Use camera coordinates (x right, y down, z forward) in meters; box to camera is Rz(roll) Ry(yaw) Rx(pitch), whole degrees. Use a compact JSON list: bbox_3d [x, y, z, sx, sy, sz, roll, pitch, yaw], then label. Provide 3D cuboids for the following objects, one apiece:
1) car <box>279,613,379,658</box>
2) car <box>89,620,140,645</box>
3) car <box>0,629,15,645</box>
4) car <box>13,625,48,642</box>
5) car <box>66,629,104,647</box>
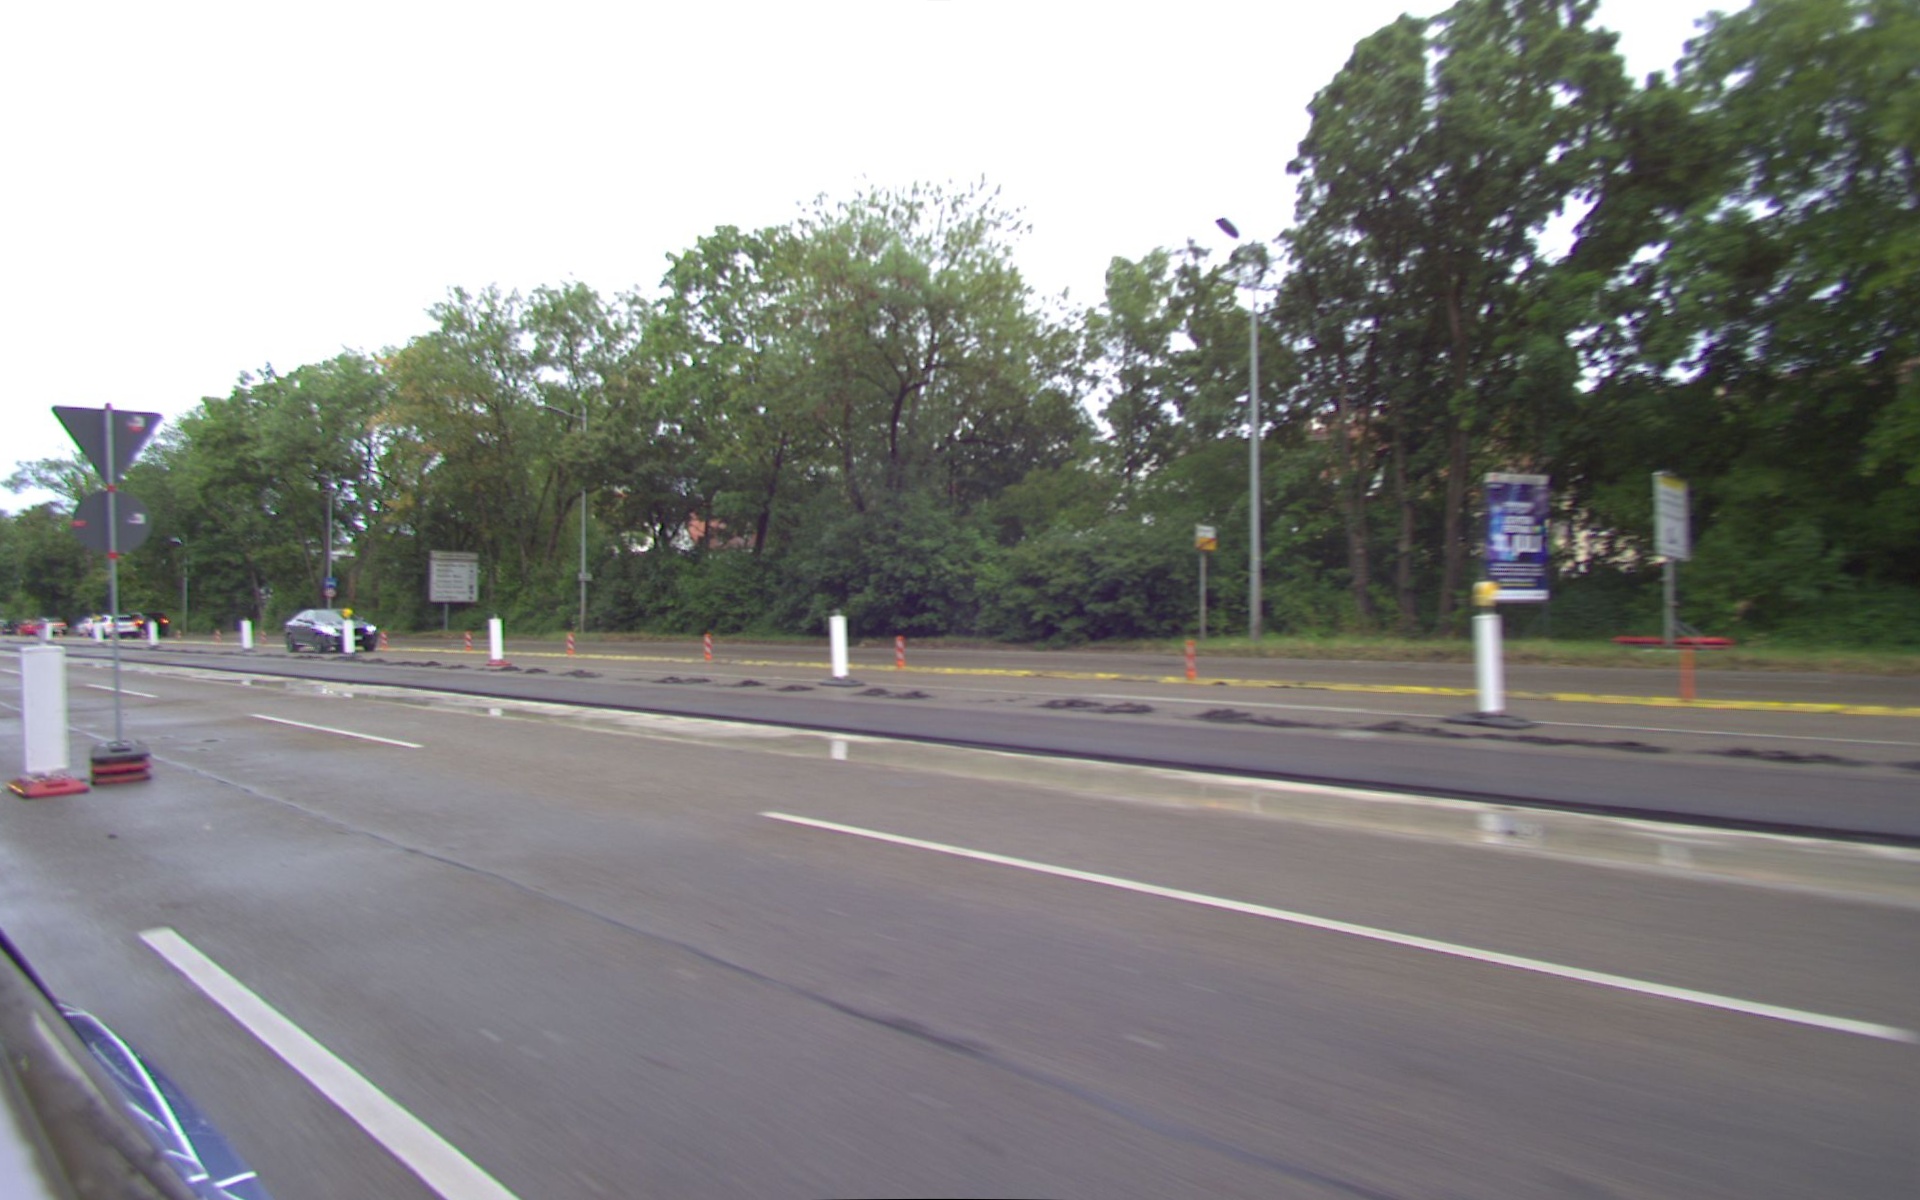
[{"bbox_3d":[-24.812,1.367,39.745,4.808,1.641,1.973,-1,-1,40],"label":"car"},{"bbox_3d":[-60.798,2.343,72.728,4.887,1.674,1.872,-1,-1,39],"label":"car"},{"bbox_3d":[-90.764,3.479,95.472,4.190,1.499,1.760,-2,-1,38],"label":"car"},{"bbox_3d":[-80.016,2.855,87.103,4.008,1.411,1.663,-1,-1,39],"label":"car"},{"bbox_3d":[-74.246,3.207,85.847,4.144,1.508,1.663,-1,-2,39],"label":"car"}]
